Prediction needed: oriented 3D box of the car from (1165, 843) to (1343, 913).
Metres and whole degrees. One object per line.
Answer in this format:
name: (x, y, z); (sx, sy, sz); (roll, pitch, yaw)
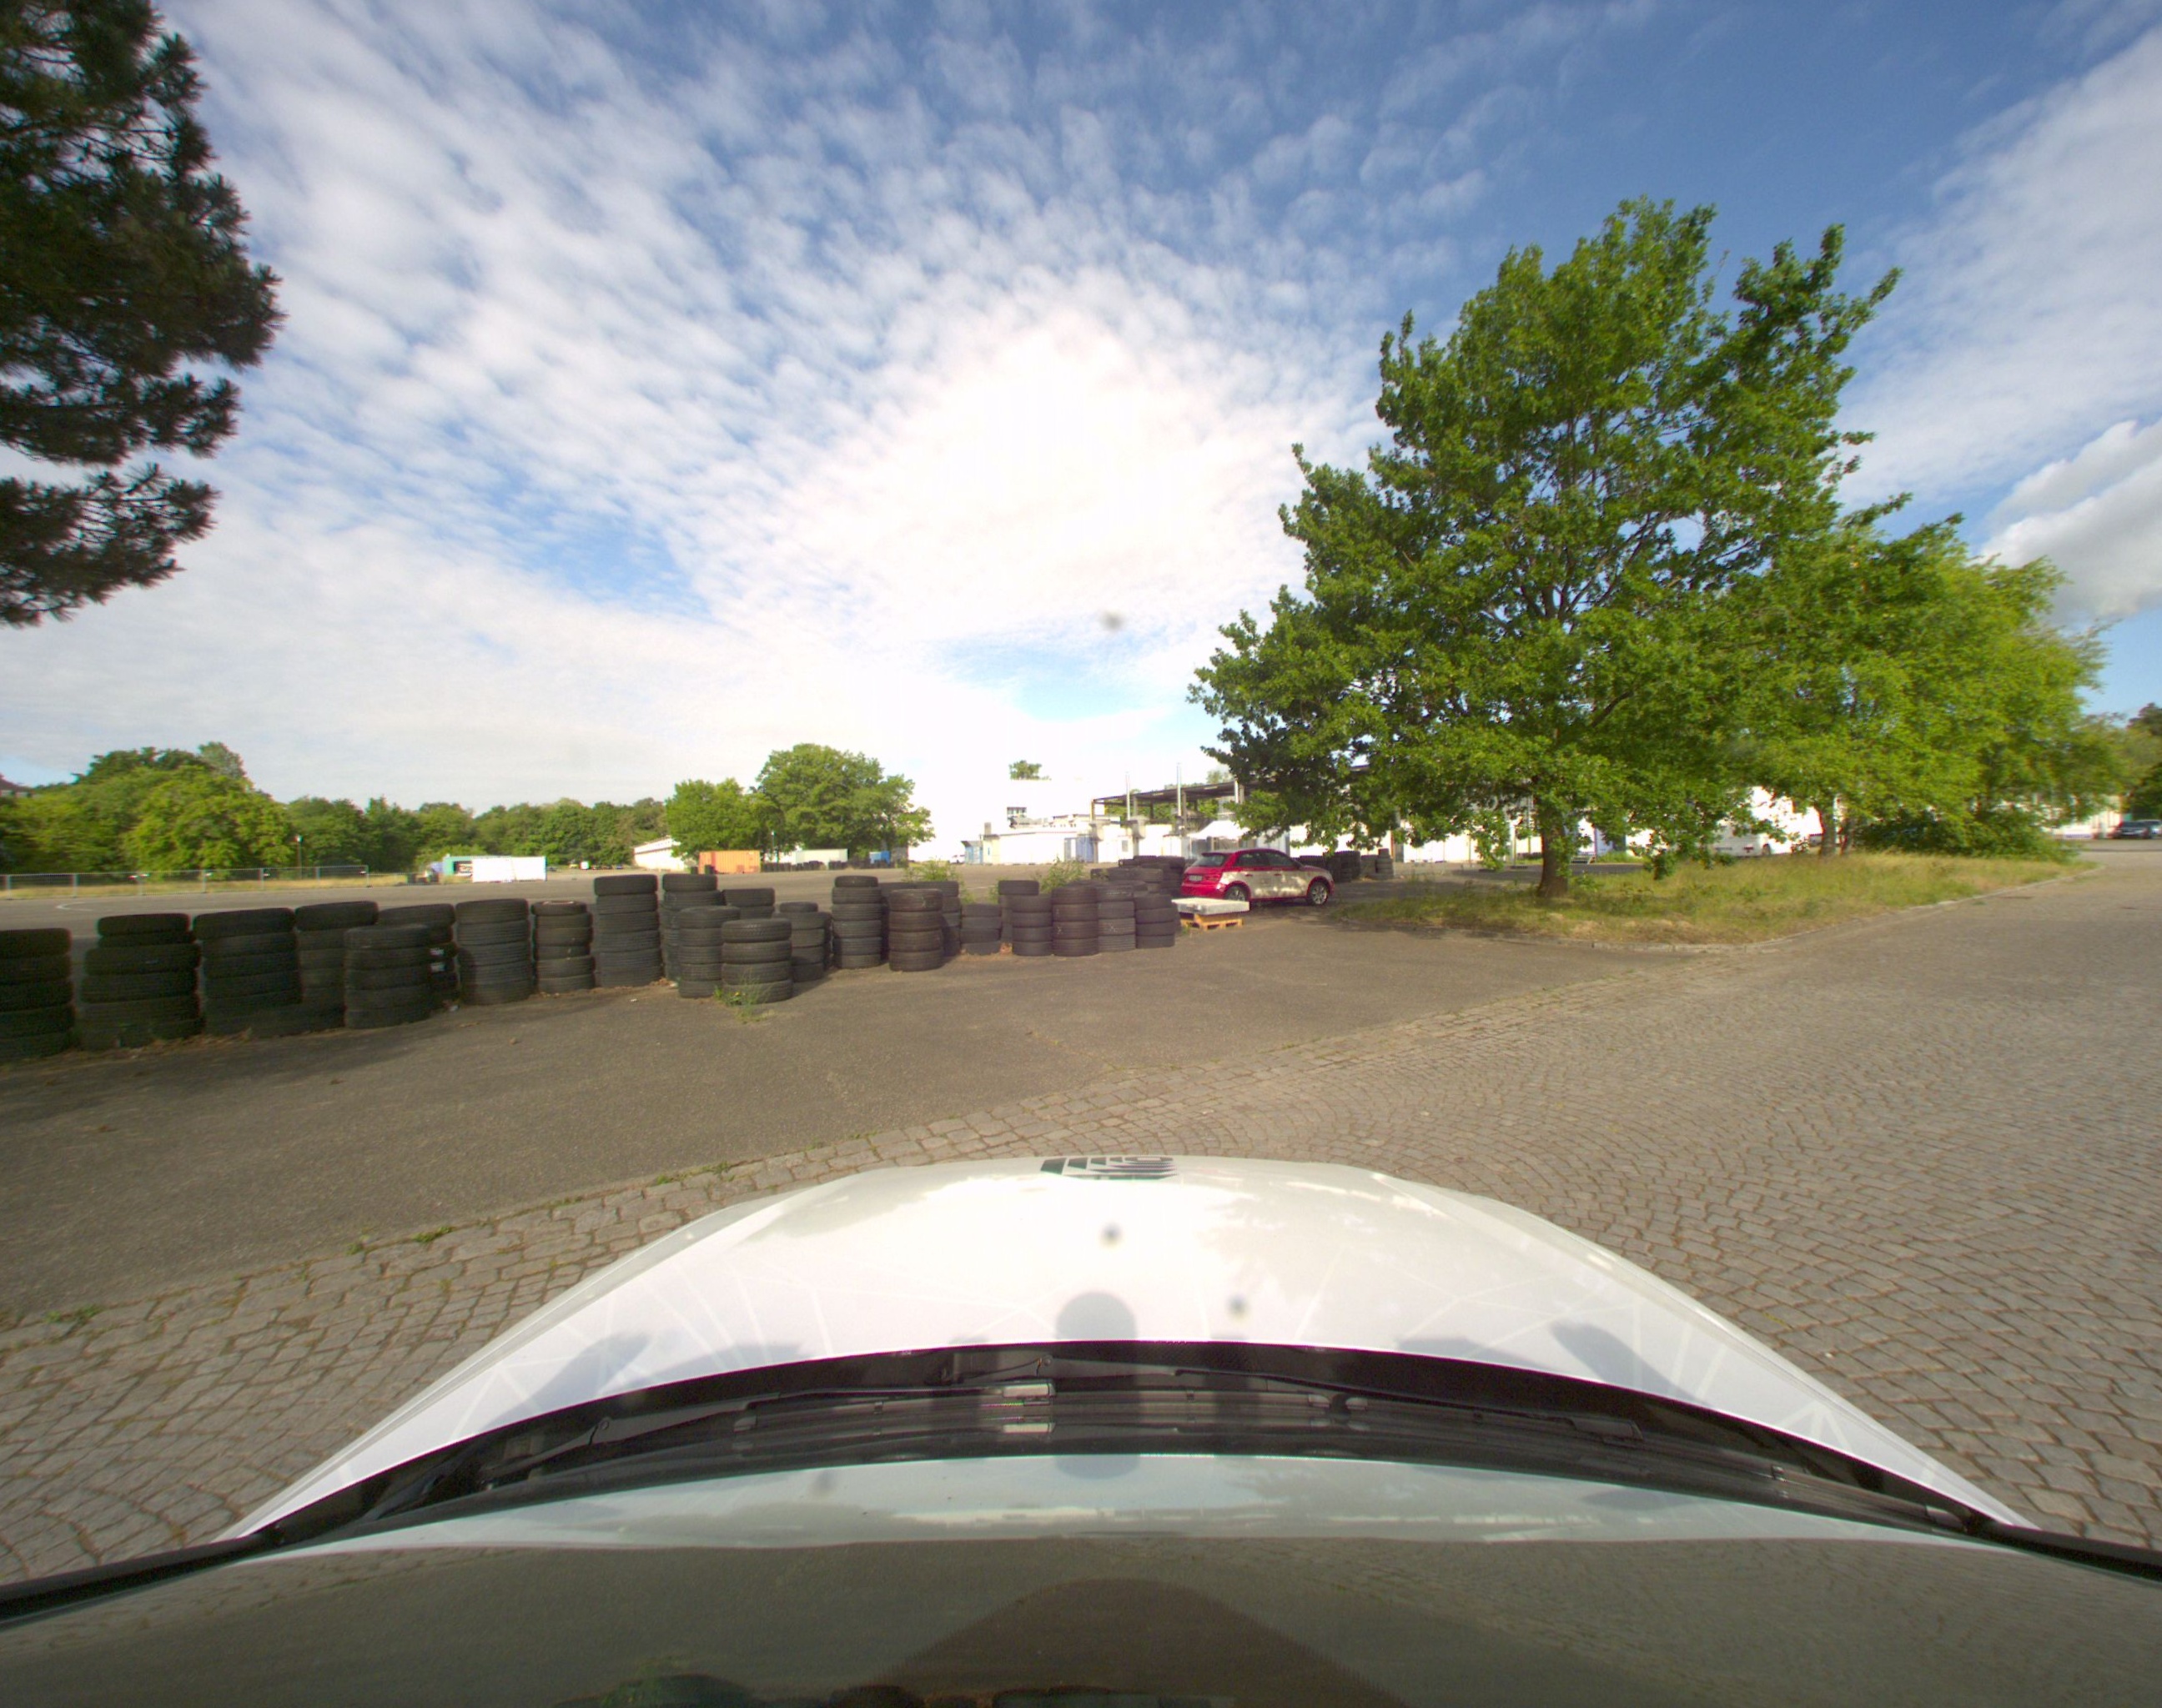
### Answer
car: (4.202, 0.516, 19.678); (4.008, 1.464, 1.713); (-2, 0, -27)

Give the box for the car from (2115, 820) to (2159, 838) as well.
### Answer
car: (82.985, -1.965, 64.037); (4.020, 1.371, 1.977); (-2, 0, -39)

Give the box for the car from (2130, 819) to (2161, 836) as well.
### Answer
car: (91.581, -2.308, 69.742); (4.020, 1.376, 1.977); (-2, 0, -39)

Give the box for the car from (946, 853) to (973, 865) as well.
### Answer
car: (-16.766, 0.673, 112.592); (1.883, 1.564, 4.499); (-2, 0, -35)

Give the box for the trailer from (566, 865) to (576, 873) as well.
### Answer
trailer: (-132.909, 3.840, 212.101); (2.008, 2.013, 3.957); (-2, 0, -34)

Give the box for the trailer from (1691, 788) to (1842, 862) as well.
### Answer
trailer: (35.442, -1.478, 41.931); (9.934, 3.471, 2.897); (-2, 0, -31)

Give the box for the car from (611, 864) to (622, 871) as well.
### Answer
car: (-122.893, 3.578, 215.415); (2.009, 1.750, 3.956); (-2, 0, -36)

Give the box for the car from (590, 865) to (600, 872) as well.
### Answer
car: (-126.827, 3.835, 212.585); (2.009, 1.750, 3.956); (-2, 0, -36)

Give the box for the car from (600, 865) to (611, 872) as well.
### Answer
car: (-125.022, 3.744, 214.003); (2.047, 1.808, 3.956); (-2, 0, -36)

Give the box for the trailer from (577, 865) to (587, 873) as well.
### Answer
trailer: (-130.119, 3.802, 212.358); (2.073, 2.013, 3.958); (-2, 0, -34)
